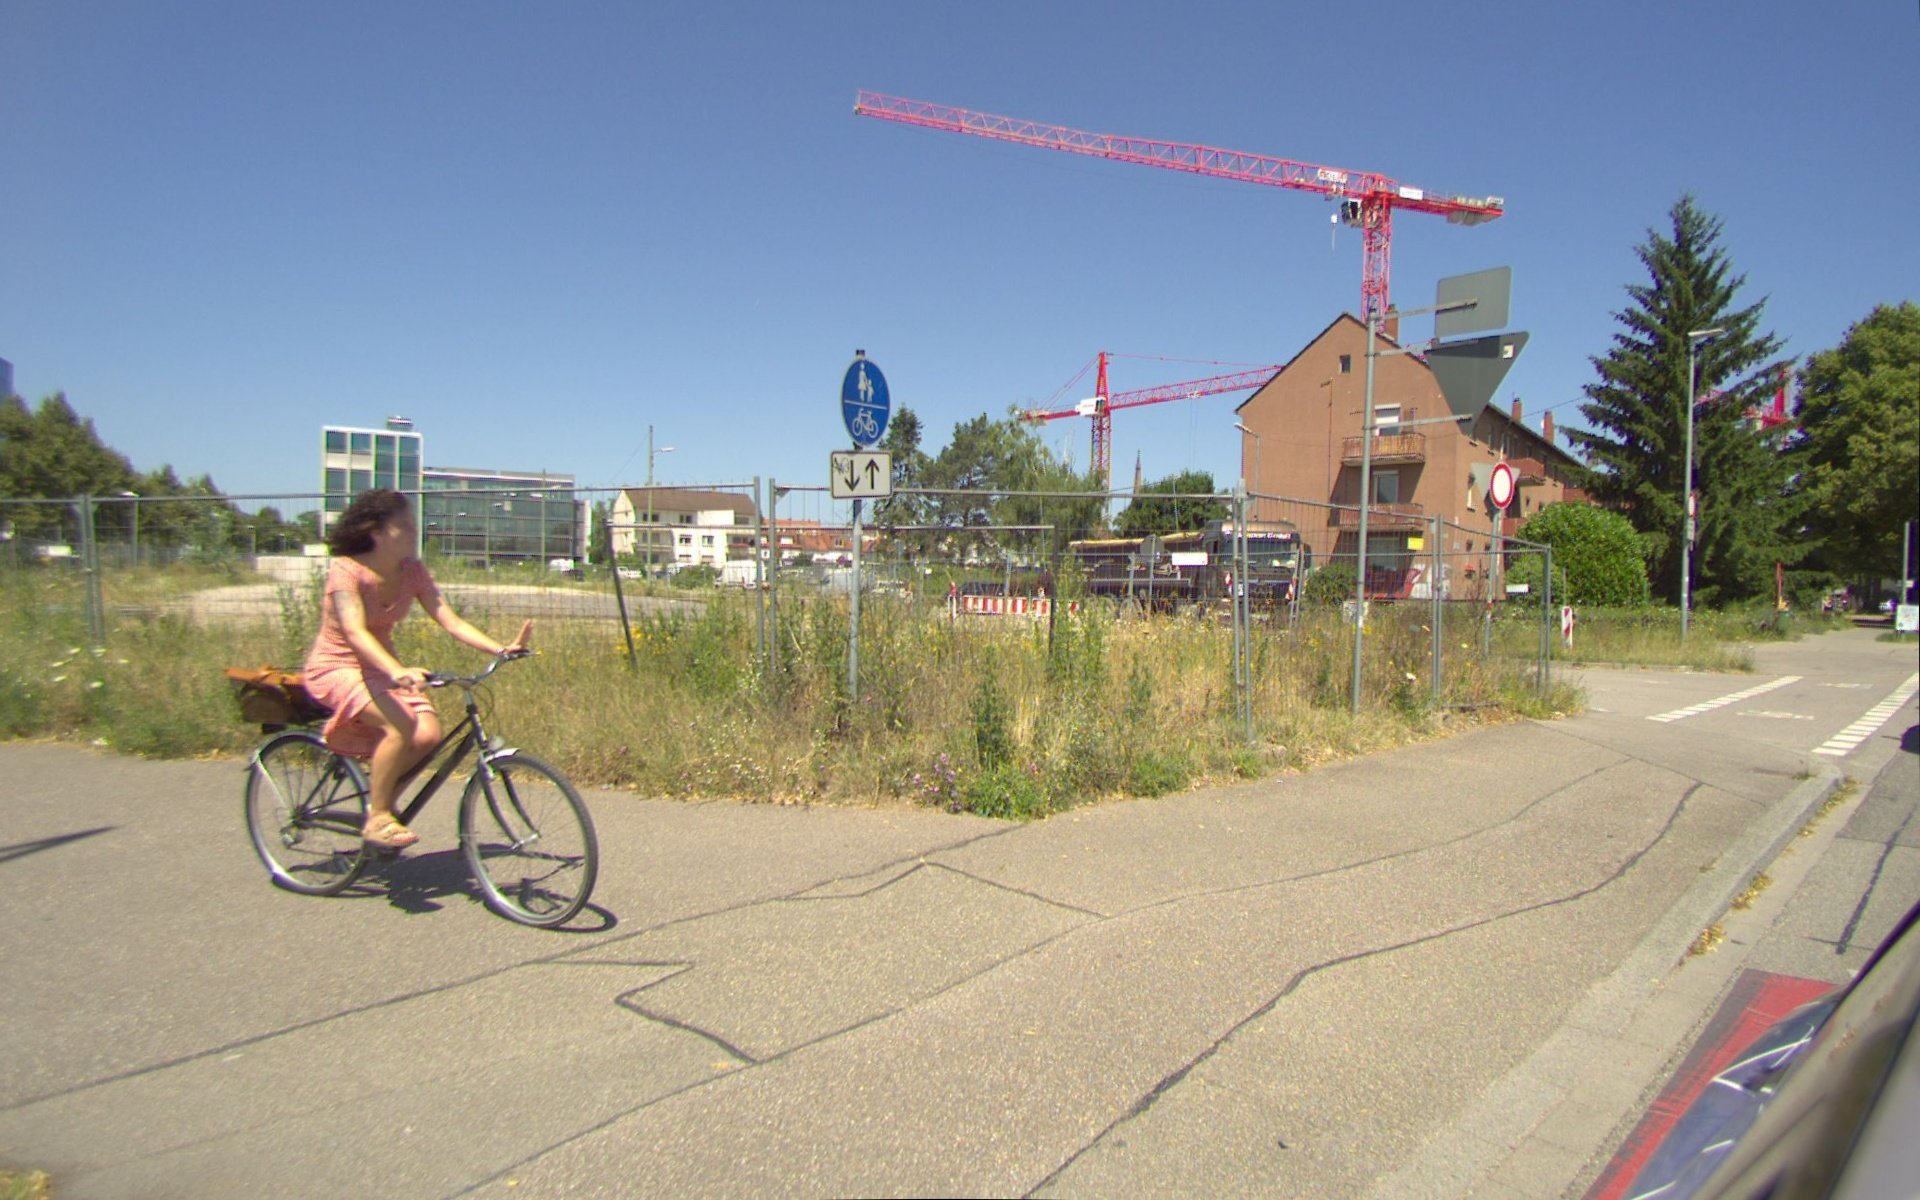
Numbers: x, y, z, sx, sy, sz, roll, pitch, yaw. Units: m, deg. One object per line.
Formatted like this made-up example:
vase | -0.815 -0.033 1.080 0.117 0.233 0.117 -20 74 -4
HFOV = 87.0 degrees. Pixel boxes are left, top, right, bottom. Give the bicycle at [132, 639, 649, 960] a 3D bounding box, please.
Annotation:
bicycle | -2.305 0.739 4.091 2.056 1.071 0.438 1 2 13

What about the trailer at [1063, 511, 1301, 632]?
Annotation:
trailer | 7.195 -0.968 34.691 3.099 3.576 9.010 1 1 -25

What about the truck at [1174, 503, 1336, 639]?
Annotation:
truck | 8.464 -0.835 29.681 3.104 3.576 4.967 1 1 -1

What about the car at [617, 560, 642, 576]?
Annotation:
car | -34.413 -3.301 105.367 1.648 1.606 3.623 -1 1 -33

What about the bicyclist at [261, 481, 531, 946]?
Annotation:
bicyclist | -2.230 0.397 4.054 0.699 1.684 0.643 1 2 14

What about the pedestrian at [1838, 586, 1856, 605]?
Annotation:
pedestrian | 70.991 -0.364 80.998 0.670 1.536 1.023 0 1 -43

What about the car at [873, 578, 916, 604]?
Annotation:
car | -3.827 -0.512 58.873 1.390 1.423 2.794 0 2 -31

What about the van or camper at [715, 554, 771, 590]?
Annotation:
van or camper | -16.959 -2.219 78.796 1.892 2.634 7.009 1 1 -32

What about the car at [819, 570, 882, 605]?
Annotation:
car | -6.890 -0.812 63.261 1.752 2.039 4.680 1 2 -38

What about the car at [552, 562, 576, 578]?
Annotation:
car | -52.386 -3.930 133.878 1.962 2.039 4.177 1 1 -34

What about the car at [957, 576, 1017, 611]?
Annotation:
car | 1.315 -0.331 50.088 1.343 1.633 3.423 1 1 -30
